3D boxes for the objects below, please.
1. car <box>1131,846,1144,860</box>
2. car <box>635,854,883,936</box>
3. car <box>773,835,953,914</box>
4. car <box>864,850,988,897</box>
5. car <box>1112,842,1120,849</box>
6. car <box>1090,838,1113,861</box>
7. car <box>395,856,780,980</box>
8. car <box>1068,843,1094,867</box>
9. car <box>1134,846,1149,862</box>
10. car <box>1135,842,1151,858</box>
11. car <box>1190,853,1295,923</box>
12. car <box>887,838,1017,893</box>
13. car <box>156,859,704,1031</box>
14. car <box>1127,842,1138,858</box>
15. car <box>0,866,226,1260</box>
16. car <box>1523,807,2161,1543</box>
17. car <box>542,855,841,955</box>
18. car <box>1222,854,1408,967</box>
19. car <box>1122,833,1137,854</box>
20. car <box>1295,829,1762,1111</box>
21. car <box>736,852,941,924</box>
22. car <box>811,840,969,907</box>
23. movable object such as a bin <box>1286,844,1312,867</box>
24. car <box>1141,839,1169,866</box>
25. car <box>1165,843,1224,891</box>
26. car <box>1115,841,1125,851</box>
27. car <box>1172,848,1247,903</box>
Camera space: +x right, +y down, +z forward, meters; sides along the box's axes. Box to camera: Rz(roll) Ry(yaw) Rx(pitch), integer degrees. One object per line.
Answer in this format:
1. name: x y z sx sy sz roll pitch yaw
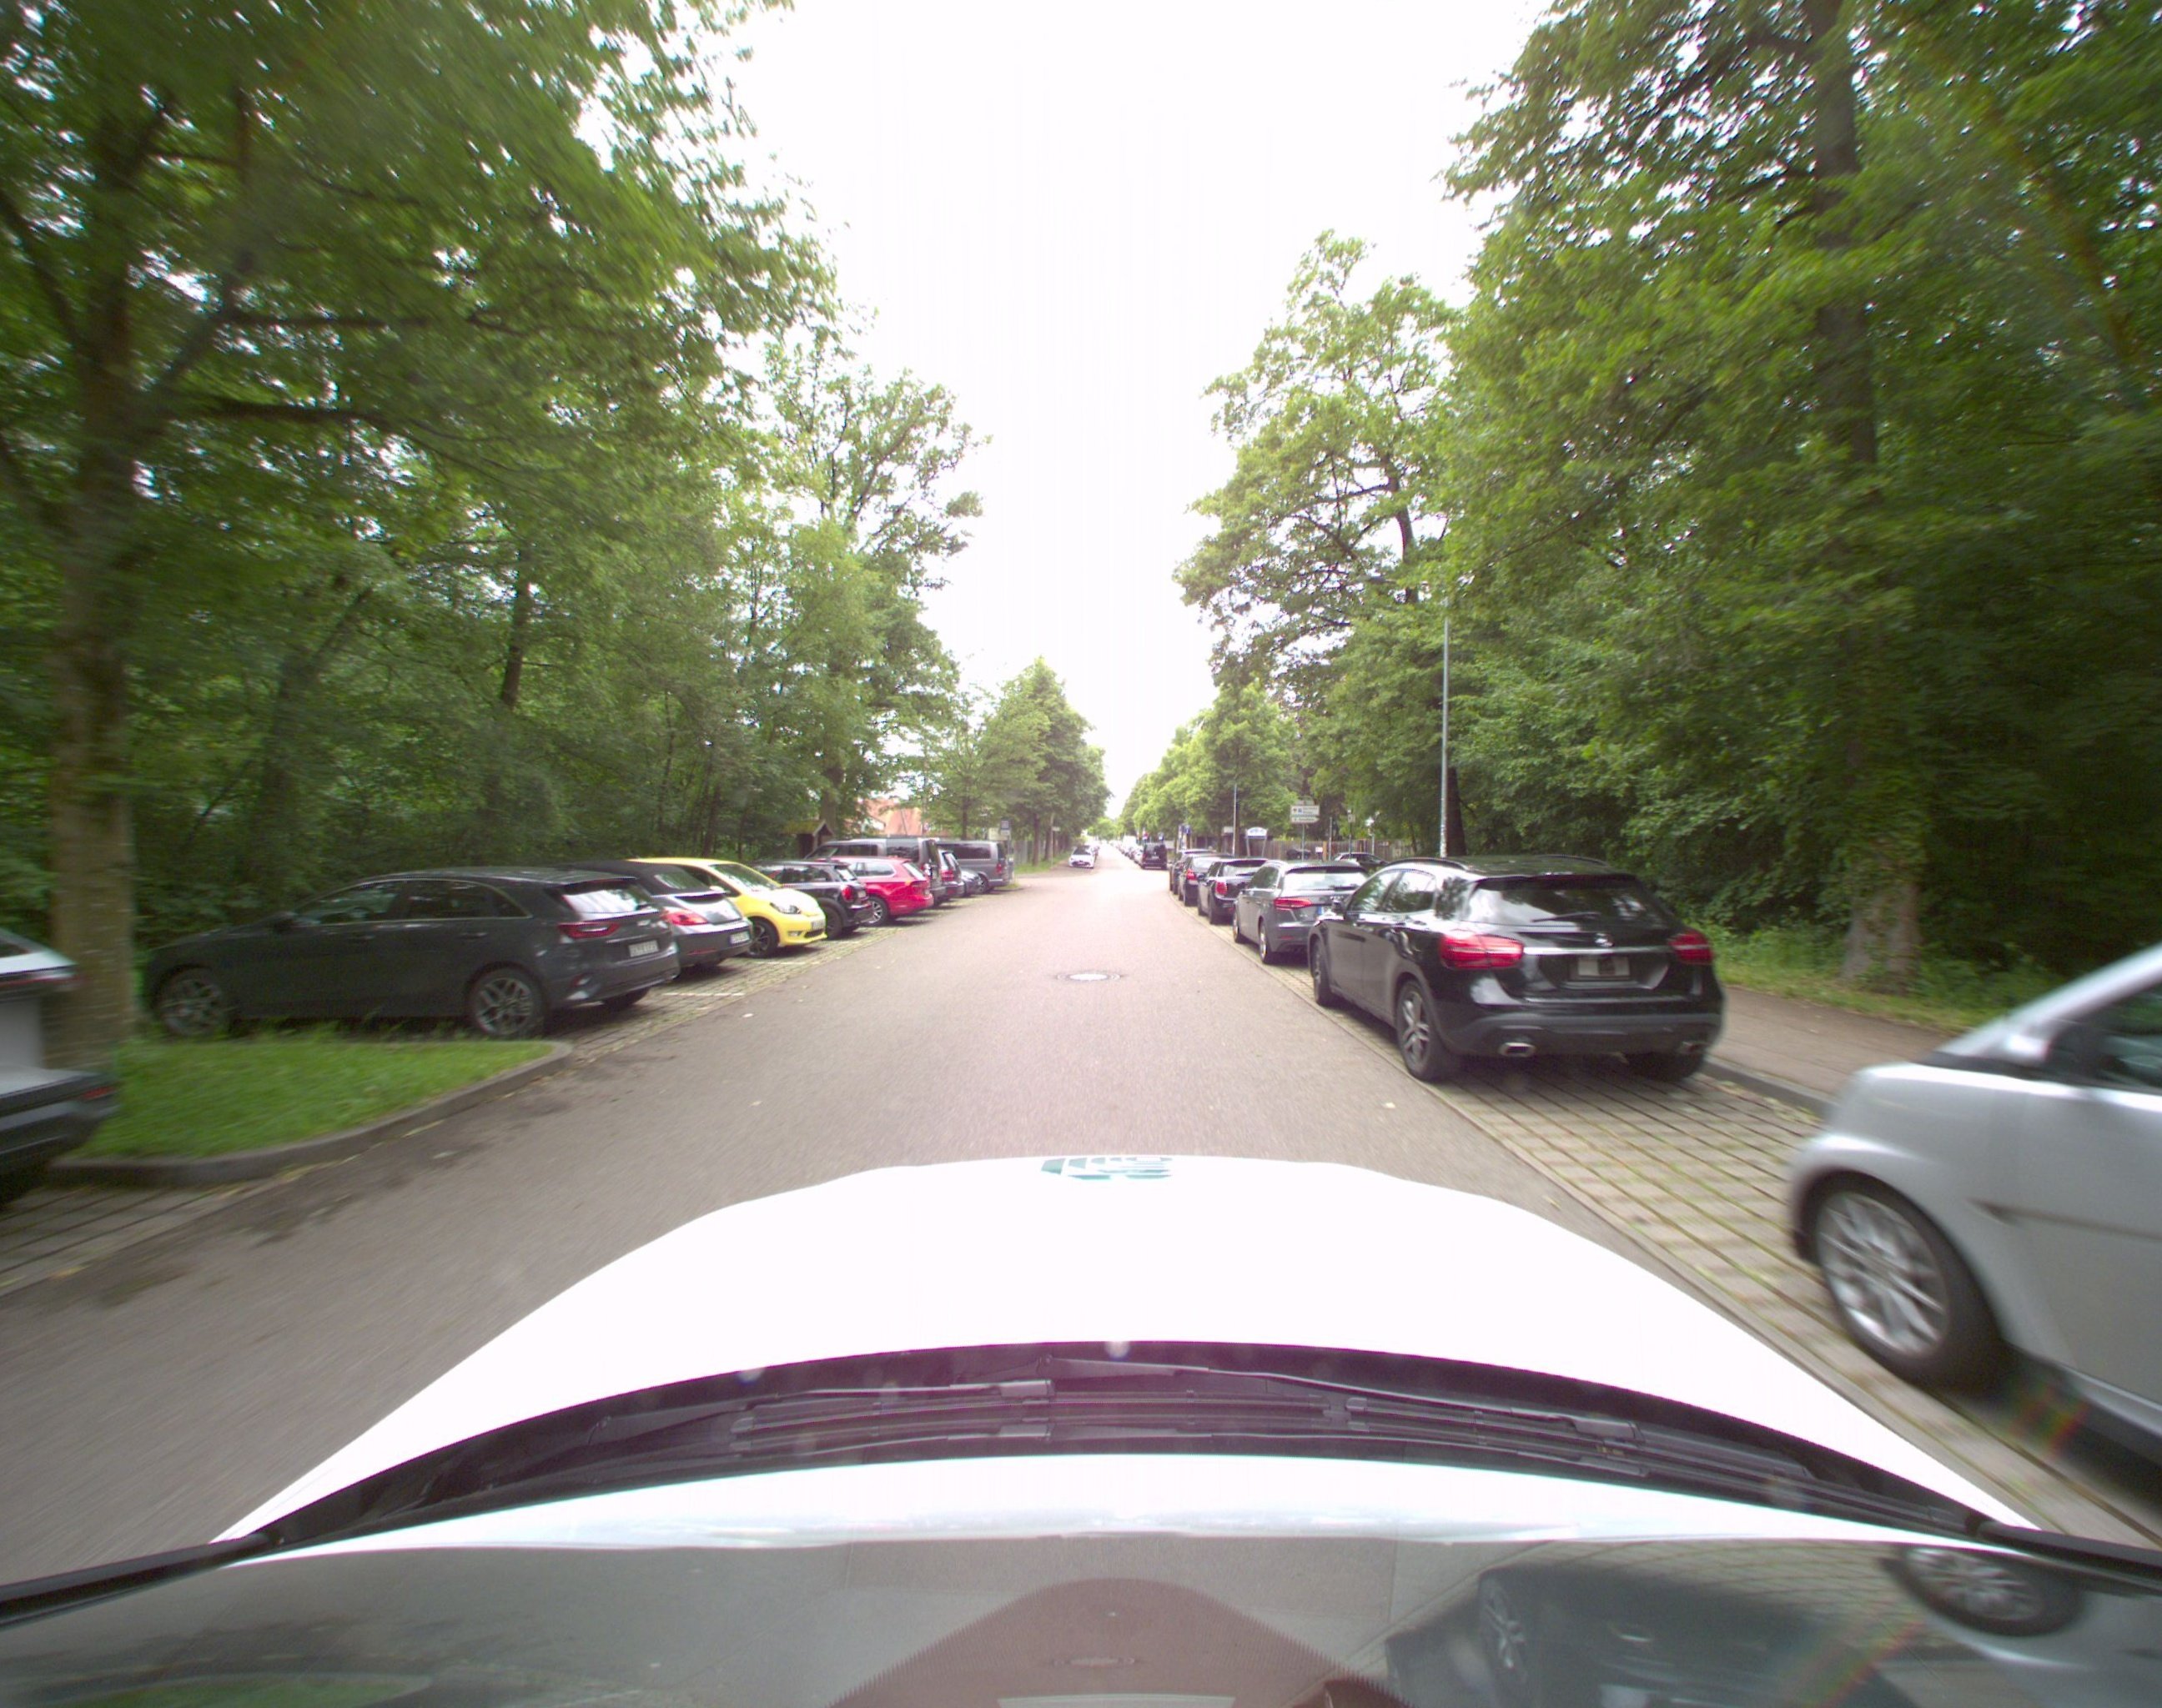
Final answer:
1. car: 6.226 -0.151 90.005 1.463 1.531 3.191 0 0 3
2. car: -5.958 0.736 15.402 3.975 1.438 1.671 1 0 -1
3. car: -5.371 0.493 20.430 3.972 1.862 1.814 1 0 1
4. car: -5.293 0.643 28.115 3.797 1.512 1.811 -1 0 4
5. car: 9.145 -2.155 213.199 1.889 1.706 4.070 0 -1 5
6. car: 1.870 -0.447 73.767 1.986 2.013 4.002 0 0 2
7. car: -6.291 0.771 10.697 3.972 1.438 1.734 1 0 1
8. car: -0.007 0.035 59.539 1.760 1.596 4.215 2 0 -1
9. car: 5.967 -0.042 80.840 1.463 1.531 3.191 0 0 3
10. car: 5.740 -0.364 75.787 1.463 1.481 3.191 0 0 3
11. car: 3.595 0.694 18.882 1.729 1.432 4.504 0 0 2
12. car: -4.733 0.416 30.324 4.487 1.978 1.891 0 -1 0
13. car: -6.088 0.795 7.963 3.972 1.438 1.715 1 0 1
14. car: 6.660 -0.510 105.927 1.463 1.967 3.191 0 0 3
15. car: -6.072 0.794 3.028 3.973 1.467 1.715 0 0 1
16. car: 3.168 0.683 2.254 1.730 1.568 4.007 0 0 0
17. car: -6.081 0.761 13.016 3.972 1.438 1.618 1 0 1
18. car: 3.354 0.714 12.579 1.729 1.432 4.504 0 0 2
19. car: 7.069 -1.492 119.486 2.175 3.015 4.901 0 0 3
20. car: 3.113 0.650 6.823 1.729 1.589 4.386 0 0 3
21. car: -5.244 0.720 18.025 3.974 1.476 1.779 1 0 -1
22. car: -5.264 0.525 22.866 3.974 1.765 1.824 1 0 0
23. movable object such as a bin: 13.926 0.084 52.043 1.293 1.442 1.066 1 -1 -42
24. car: 5.602 -0.132 61.880 1.980 2.013 4.111 0 0 3
25. car: 4.085 0.454 29.998 1.729 1.633 4.378 0 0 2
26. car: 8.670 -1.701 179.632 1.984 2.014 4.006 0 -1 5
27. car: 3.765 0.588 24.423 1.729 1.495 4.236 0 0 2
